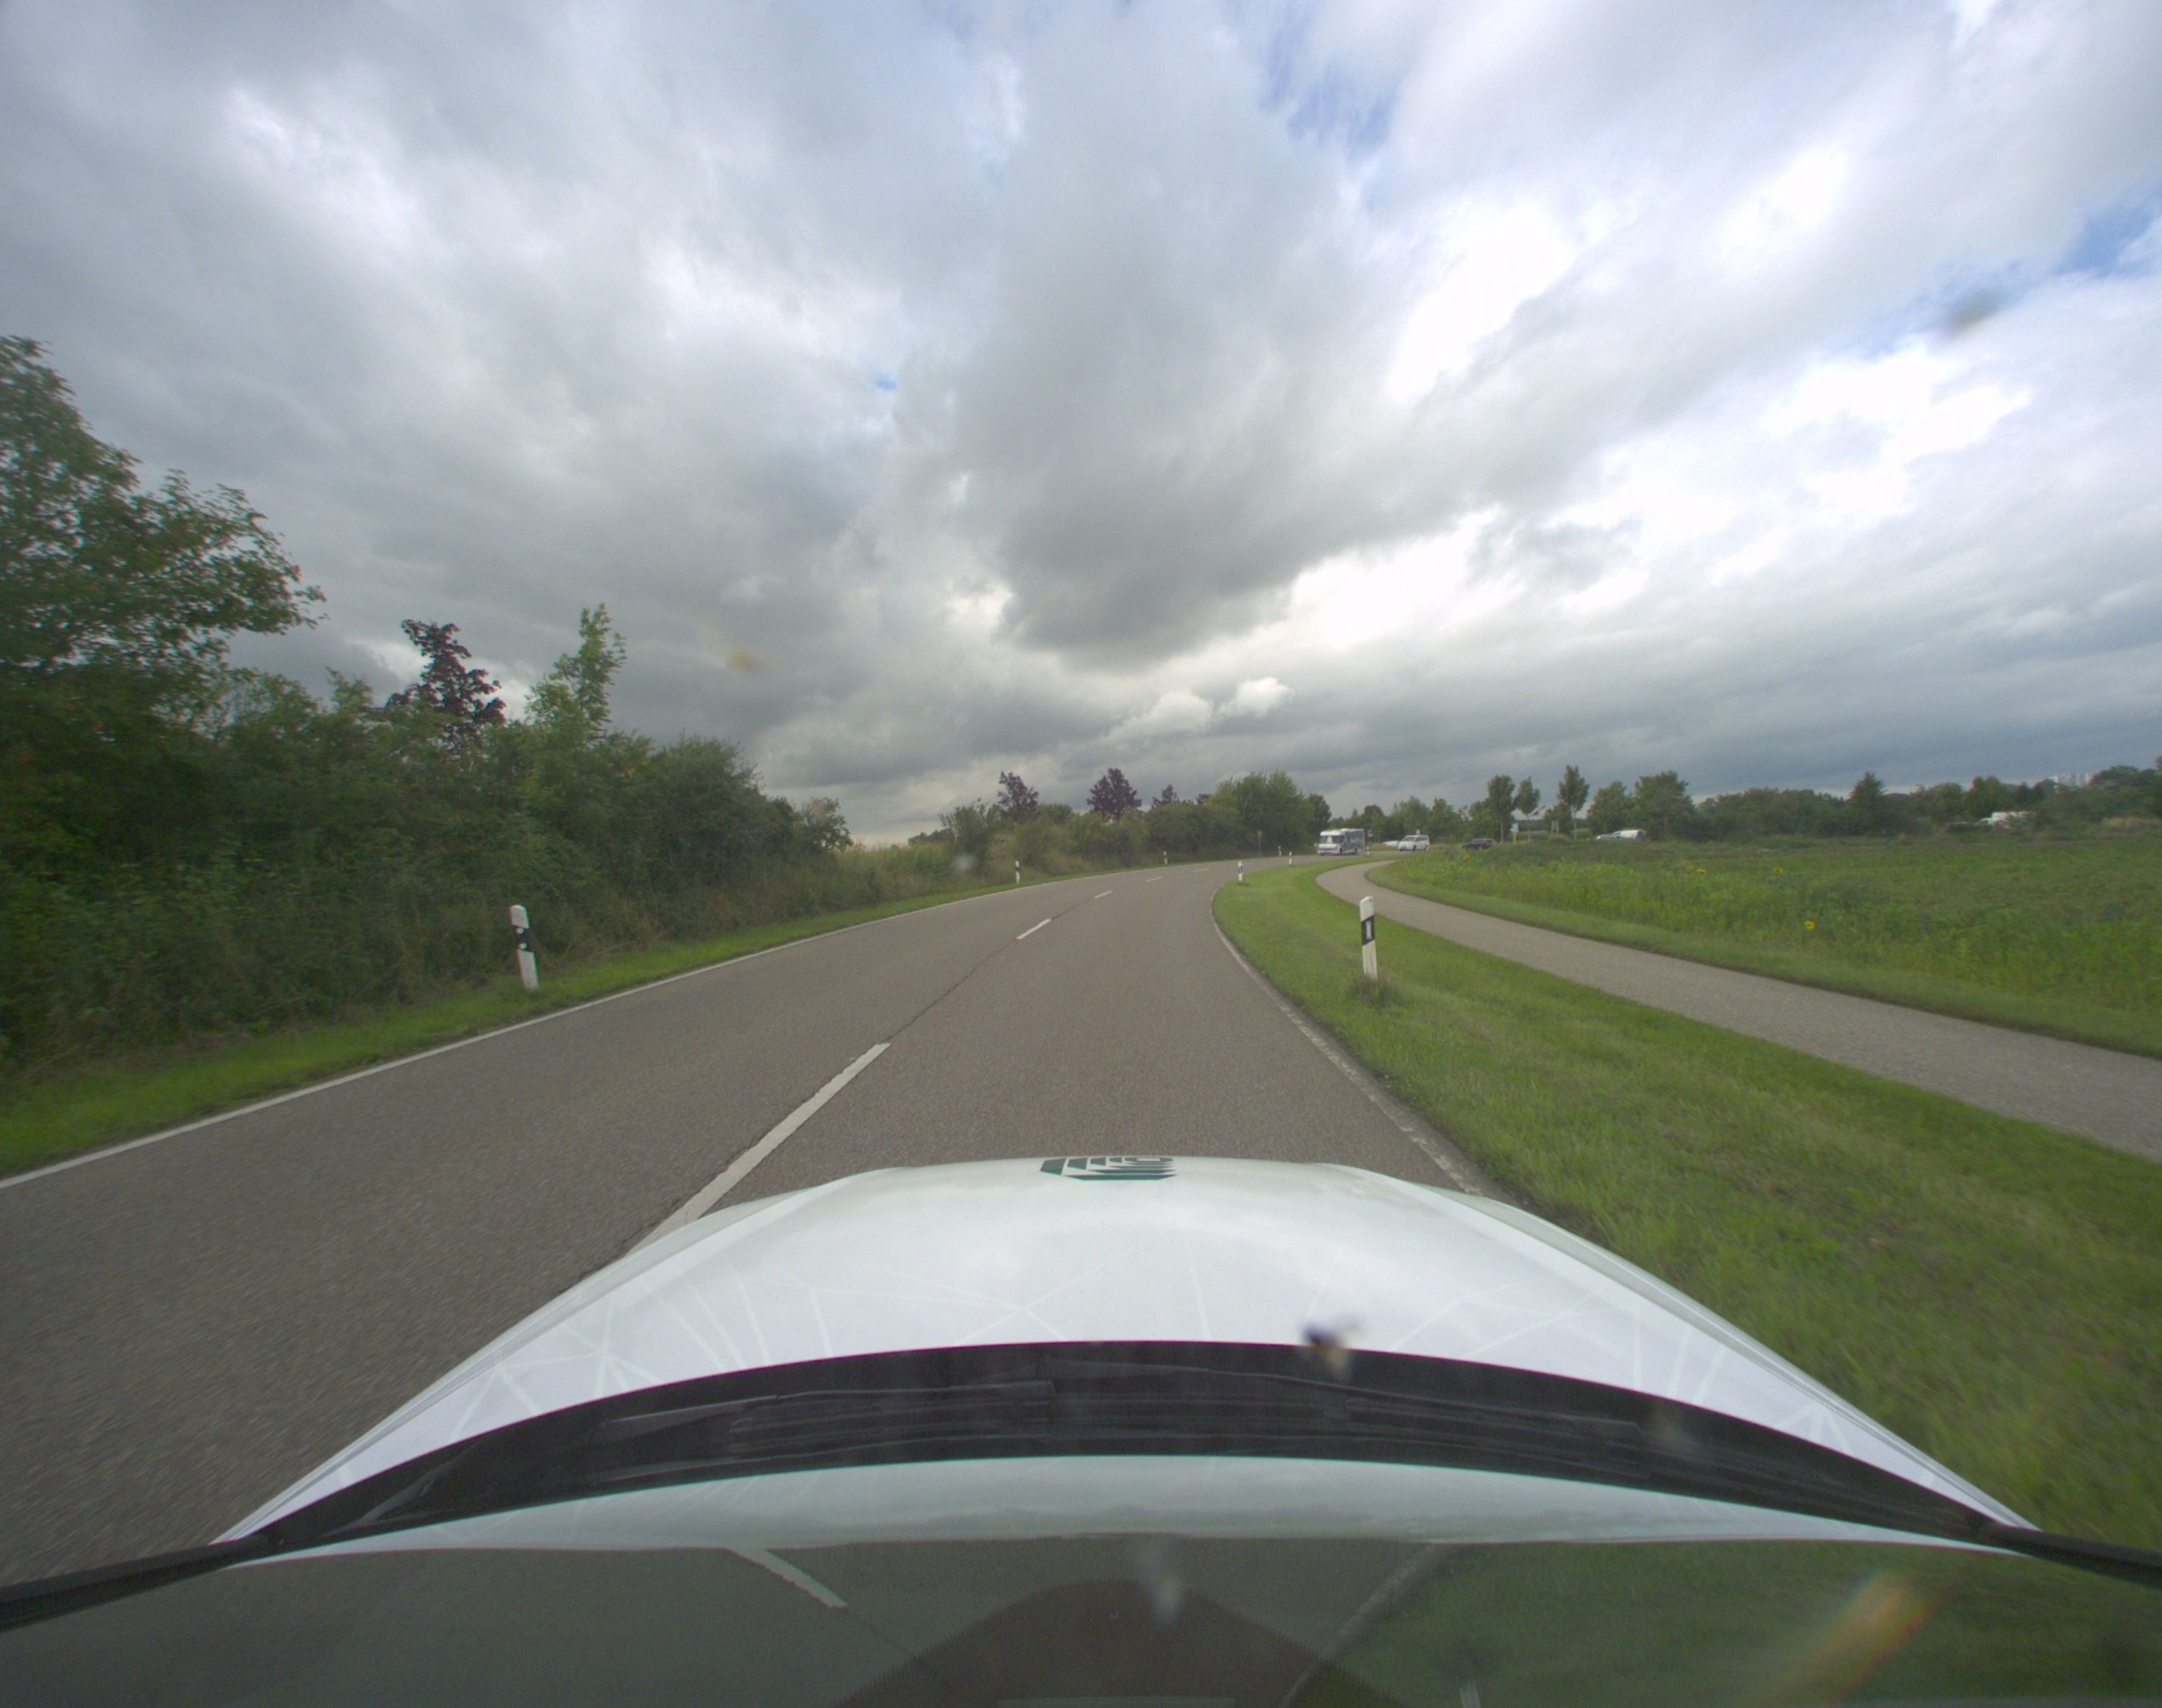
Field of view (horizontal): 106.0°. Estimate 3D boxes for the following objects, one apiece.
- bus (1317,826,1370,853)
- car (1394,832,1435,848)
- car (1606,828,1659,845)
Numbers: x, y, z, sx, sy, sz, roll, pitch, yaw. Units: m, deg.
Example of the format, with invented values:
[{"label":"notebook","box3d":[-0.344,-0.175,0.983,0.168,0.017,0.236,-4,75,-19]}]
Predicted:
[{"label":"bus","box3d":[28.155,-1.569,87.075,2.451,2.711,8.484,-1,0,39]},{"label":"car","box3d":[40.915,-1.705,99.734,5.207,1.868,2.098,-2,0,-34]},{"label":"car","box3d":[65.890,-2.076,97.388,1.965,1.974,4.903,-2,0,-41]}]
